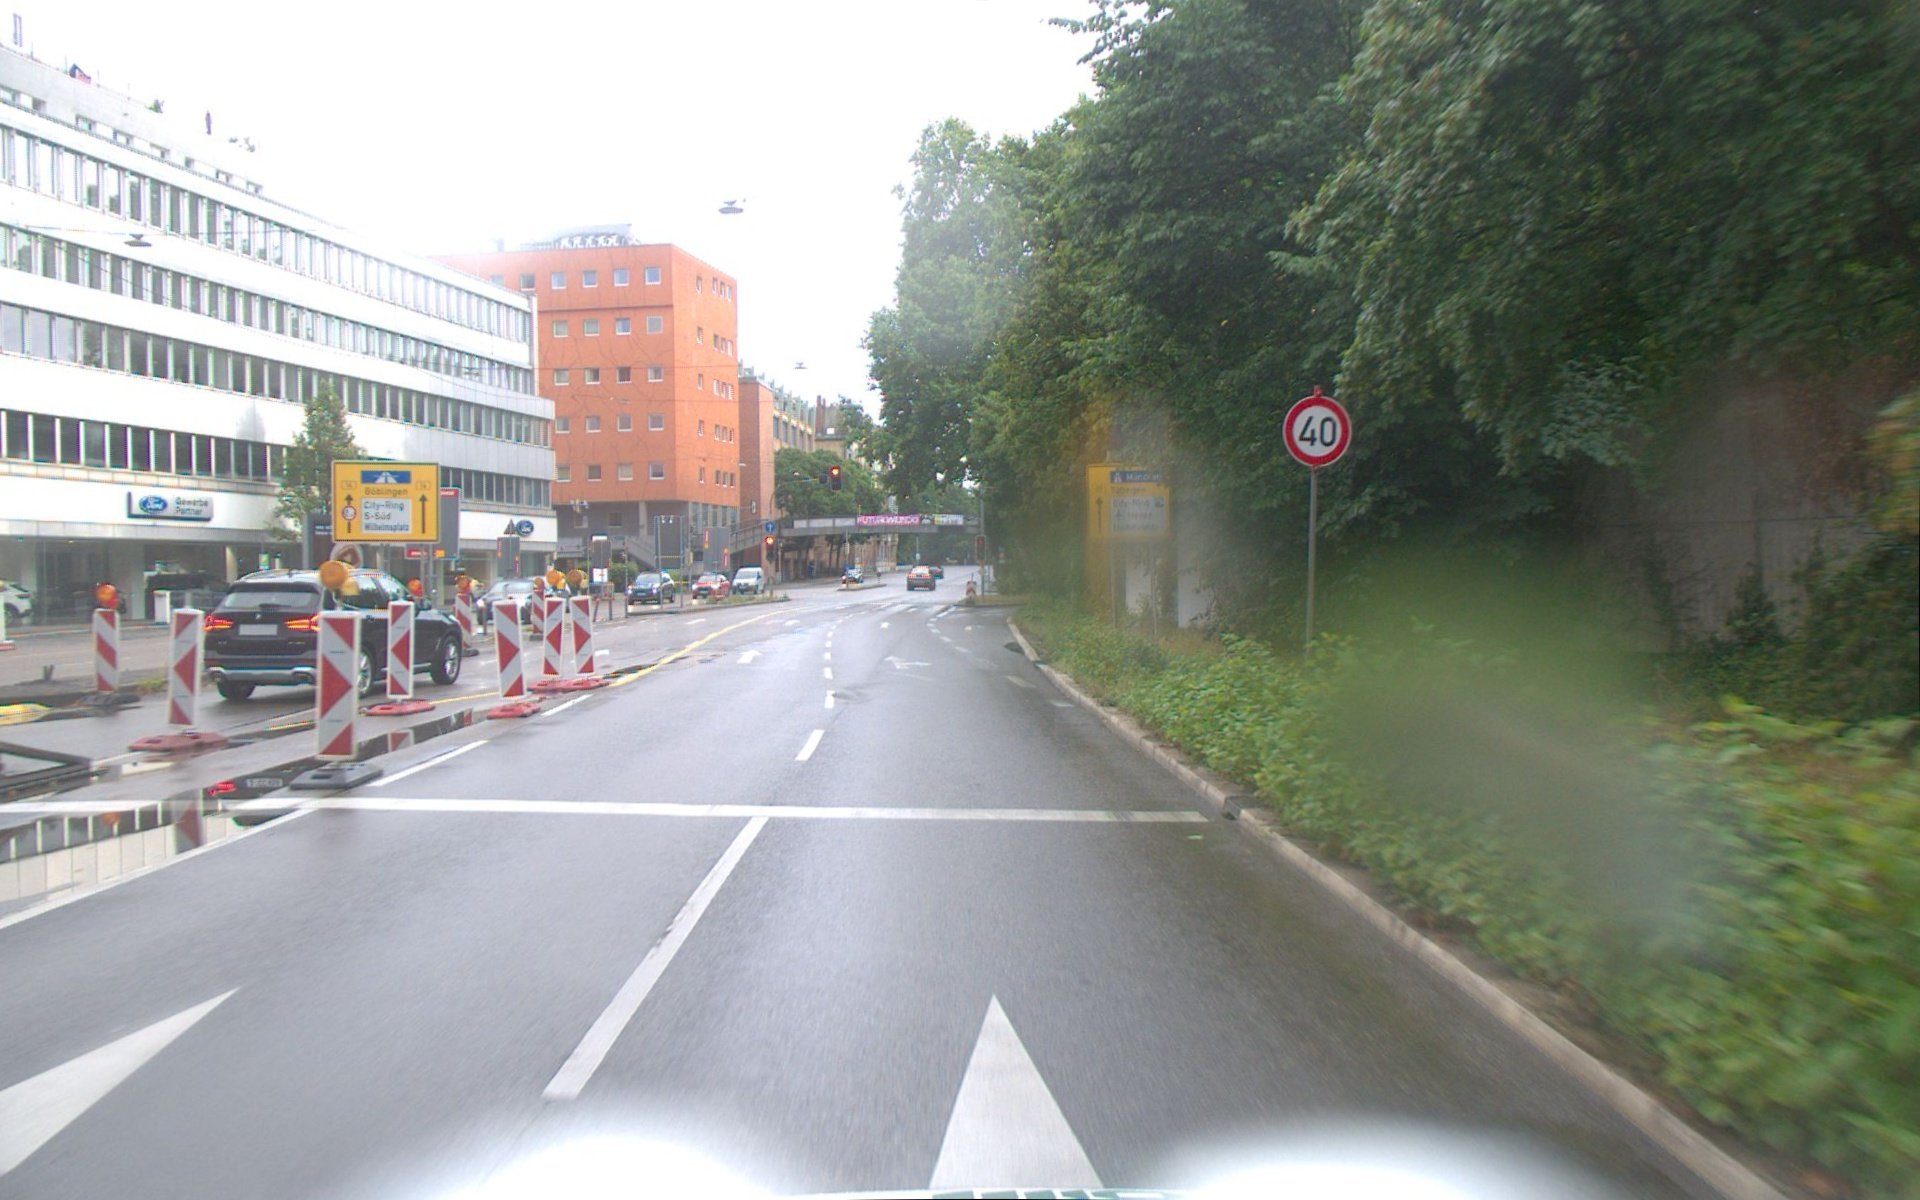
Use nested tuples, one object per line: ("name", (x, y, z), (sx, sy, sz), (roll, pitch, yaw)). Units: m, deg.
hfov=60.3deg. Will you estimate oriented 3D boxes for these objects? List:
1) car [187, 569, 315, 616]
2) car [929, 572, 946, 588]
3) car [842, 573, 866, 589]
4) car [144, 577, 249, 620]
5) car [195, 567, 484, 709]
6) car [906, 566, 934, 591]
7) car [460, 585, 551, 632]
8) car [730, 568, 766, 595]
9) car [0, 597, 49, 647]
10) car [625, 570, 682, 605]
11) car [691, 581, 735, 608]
("car", (-32.277, -0.339, 75.366), (4.946, 1.930, 1.970), (-3, 1, -42))
("car", (-2.465, -2.239, 183.191), (1.727, 1.726, 3.706), (-2, 1, 1))
("car", (-10.711, -1.900, 167.216), (1.952, 1.545, 4.001), (-1, 1, 2))
("car", (-32.378, -0.074, 70.127), (3.940, 1.601, 1.982), (-3, 1, -27))
("car", (-8.275, 0.415, 22.577), (1.906, 1.625, 4.673), (1, 2, 4))
("car", (-3.066, -1.665, 127.621), (2.077, 1.765, 4.198), (1, 2, -1))
("car", (-14.704, 0.238, 53.744), (1.654, 1.378, 4.116), (-2, 1, 2))
("car", (-14.804, -1.302, 115.710), (1.697, 1.817, 4.303), (-2, 1, 3))
("car", (-34.723, 0.838, 58.367), (4.335, 1.680, 1.832), (-3, 1, -35))
("car", (-16.448, -0.695, 88.956), (1.806, 1.767, 4.608), (-1, 1, 6))
("car", (-15.472, -0.357, 103.793), (1.791, 1.528, 4.375), (-2, 1, 3))
